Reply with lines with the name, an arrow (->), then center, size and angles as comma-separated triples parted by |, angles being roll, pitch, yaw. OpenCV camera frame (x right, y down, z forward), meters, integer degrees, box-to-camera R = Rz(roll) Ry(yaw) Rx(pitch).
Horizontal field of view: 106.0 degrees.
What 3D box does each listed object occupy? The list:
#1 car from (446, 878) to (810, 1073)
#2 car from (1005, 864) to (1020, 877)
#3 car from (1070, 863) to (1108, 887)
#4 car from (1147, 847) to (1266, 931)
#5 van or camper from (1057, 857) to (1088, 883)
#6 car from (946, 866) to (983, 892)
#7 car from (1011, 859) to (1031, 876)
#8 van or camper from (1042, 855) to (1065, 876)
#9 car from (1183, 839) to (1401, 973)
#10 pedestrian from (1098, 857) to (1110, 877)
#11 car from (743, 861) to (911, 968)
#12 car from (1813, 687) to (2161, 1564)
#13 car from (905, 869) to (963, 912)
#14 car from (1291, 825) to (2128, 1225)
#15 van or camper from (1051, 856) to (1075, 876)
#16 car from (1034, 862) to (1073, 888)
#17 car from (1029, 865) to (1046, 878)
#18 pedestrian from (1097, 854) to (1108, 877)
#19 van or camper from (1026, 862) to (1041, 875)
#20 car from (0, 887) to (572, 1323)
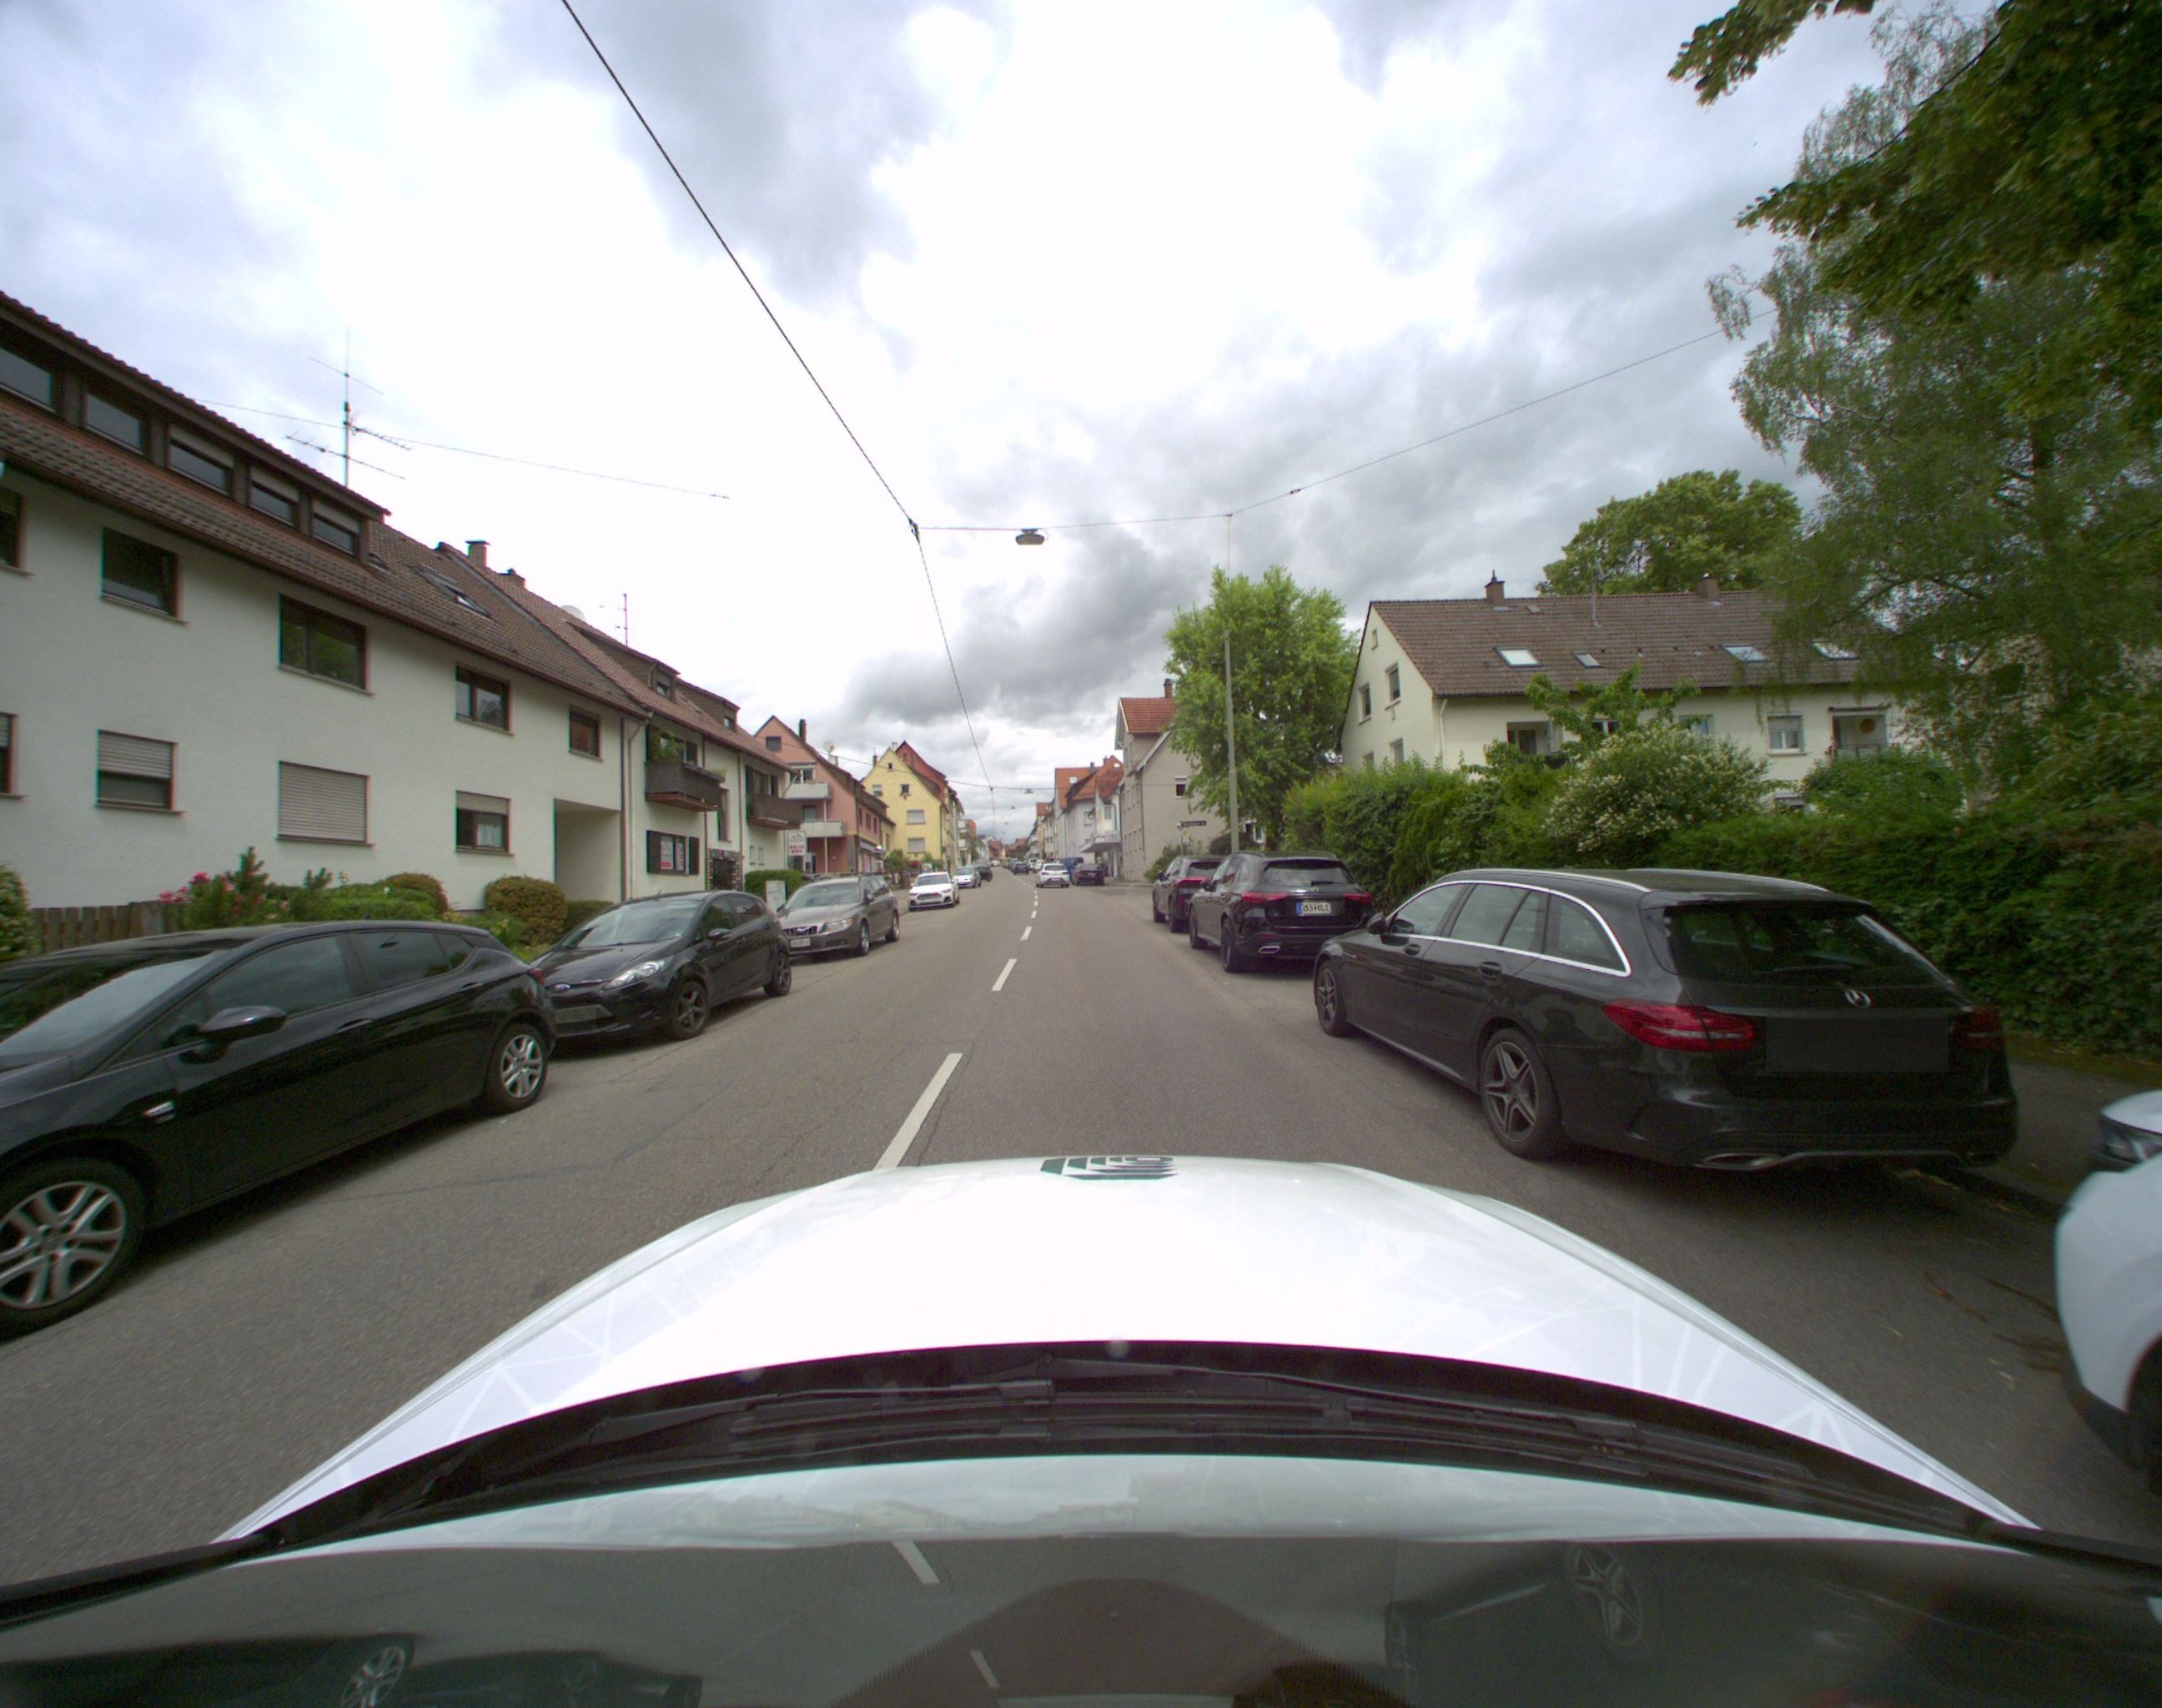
car -> -4.663, 1.125, 9.210 | 1.758, 1.438, 4.075 | -6, 0, -1
car -> -10.907, 2.636, 128.894 | 2.150, 2.014, 3.990 | -1, -1, -7
car -> 0.488, 1.400, 54.798 | 1.991, 1.518, 4.880 | 0, -1, -6
car -> 2.632, 0.718, 18.091 | 1.806, 1.615, 4.535 | -1, -1, -2
van or camper -> -0.734, 1.278, 66.183 | 1.925, 1.926, 4.819 | -1, 0, -7
car -> -8.209, 1.759, 57.758 | 1.827, 1.578, 4.031 | -5, 0, 1
car -> -7.228, 1.622, 97.879 | 2.150, 2.014, 3.990 | -1, -1, -7
van or camper -> -2.887, 1.190, 85.754 | 1.991, 2.066, 5.931 | 0, 0, -6
car -> 2.885, 0.675, 12.294 | 1.988, 1.615, 4.535 | -1, -1, -2
pedestrian -> 2.035, 1.170, 72.321 | 0.862, 1.725, 0.623 | -2, -1, 28
car -> -4.879, 1.074, 16.423 | 1.842, 1.680, 4.783 | -5, -1, -1
car -> 3.178, 0.546, 0.296 | 1.834, 1.774, 4.312 | 0, 0, -3
car -> -5.836, 1.413, 32.703 | 1.723, 1.458, 3.893 | -6, -1, -4
car -> 3.106, 0.702, 5.537 | 1.988, 1.478, 4.616 | -2, -1, -2
van or camper -> -1.720, 1.145, 78.210 | 1.869, 1.829, 4.669 | 0, 0, -7
car -> -1.698, 1.208, 48.809 | 1.939, 1.439, 3.989 | -1, 0, -8
car -> -5.725, 2.268, 107.555 | 1.939, 1.693, 3.990 | 0, 0, -7
pedestrian -> 1.952, 1.034, 73.859 | 0.752, 2.014, 0.623 | -2, -1, 28
van or camper -> -7.553, 2.302, 129.392 | 1.940, 2.055, 4.550 | -1, 0, -8
car -> -4.781, 1.013, 4.208 | 1.758, 1.438, 4.074 | -4, 0, -2
